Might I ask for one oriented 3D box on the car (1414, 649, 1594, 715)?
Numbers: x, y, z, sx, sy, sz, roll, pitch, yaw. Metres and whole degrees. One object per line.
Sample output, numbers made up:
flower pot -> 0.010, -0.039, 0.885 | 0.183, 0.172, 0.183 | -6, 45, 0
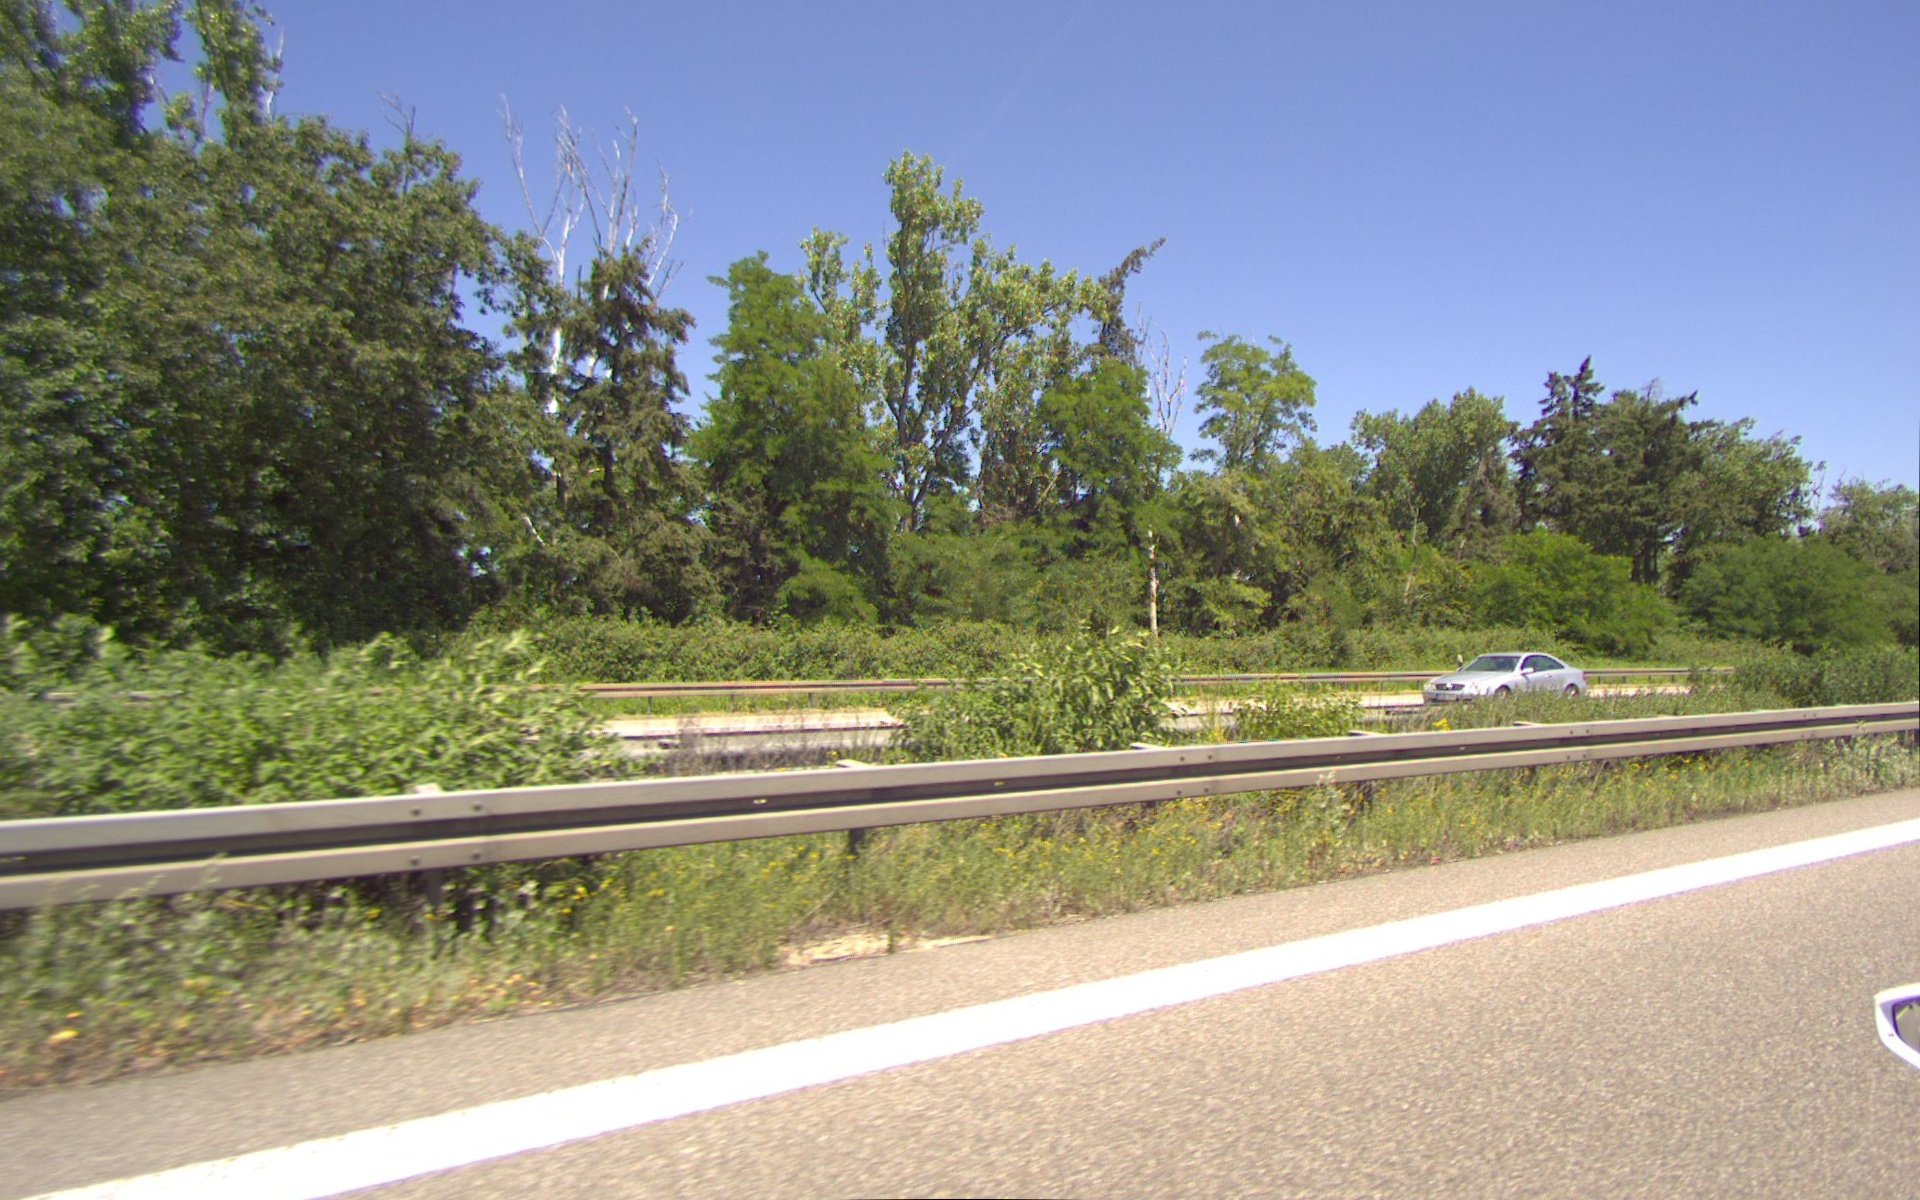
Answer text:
car -> 12.936, 1.880, 23.845 | 4.260, 1.397, 1.844 | 2, -2, -30
